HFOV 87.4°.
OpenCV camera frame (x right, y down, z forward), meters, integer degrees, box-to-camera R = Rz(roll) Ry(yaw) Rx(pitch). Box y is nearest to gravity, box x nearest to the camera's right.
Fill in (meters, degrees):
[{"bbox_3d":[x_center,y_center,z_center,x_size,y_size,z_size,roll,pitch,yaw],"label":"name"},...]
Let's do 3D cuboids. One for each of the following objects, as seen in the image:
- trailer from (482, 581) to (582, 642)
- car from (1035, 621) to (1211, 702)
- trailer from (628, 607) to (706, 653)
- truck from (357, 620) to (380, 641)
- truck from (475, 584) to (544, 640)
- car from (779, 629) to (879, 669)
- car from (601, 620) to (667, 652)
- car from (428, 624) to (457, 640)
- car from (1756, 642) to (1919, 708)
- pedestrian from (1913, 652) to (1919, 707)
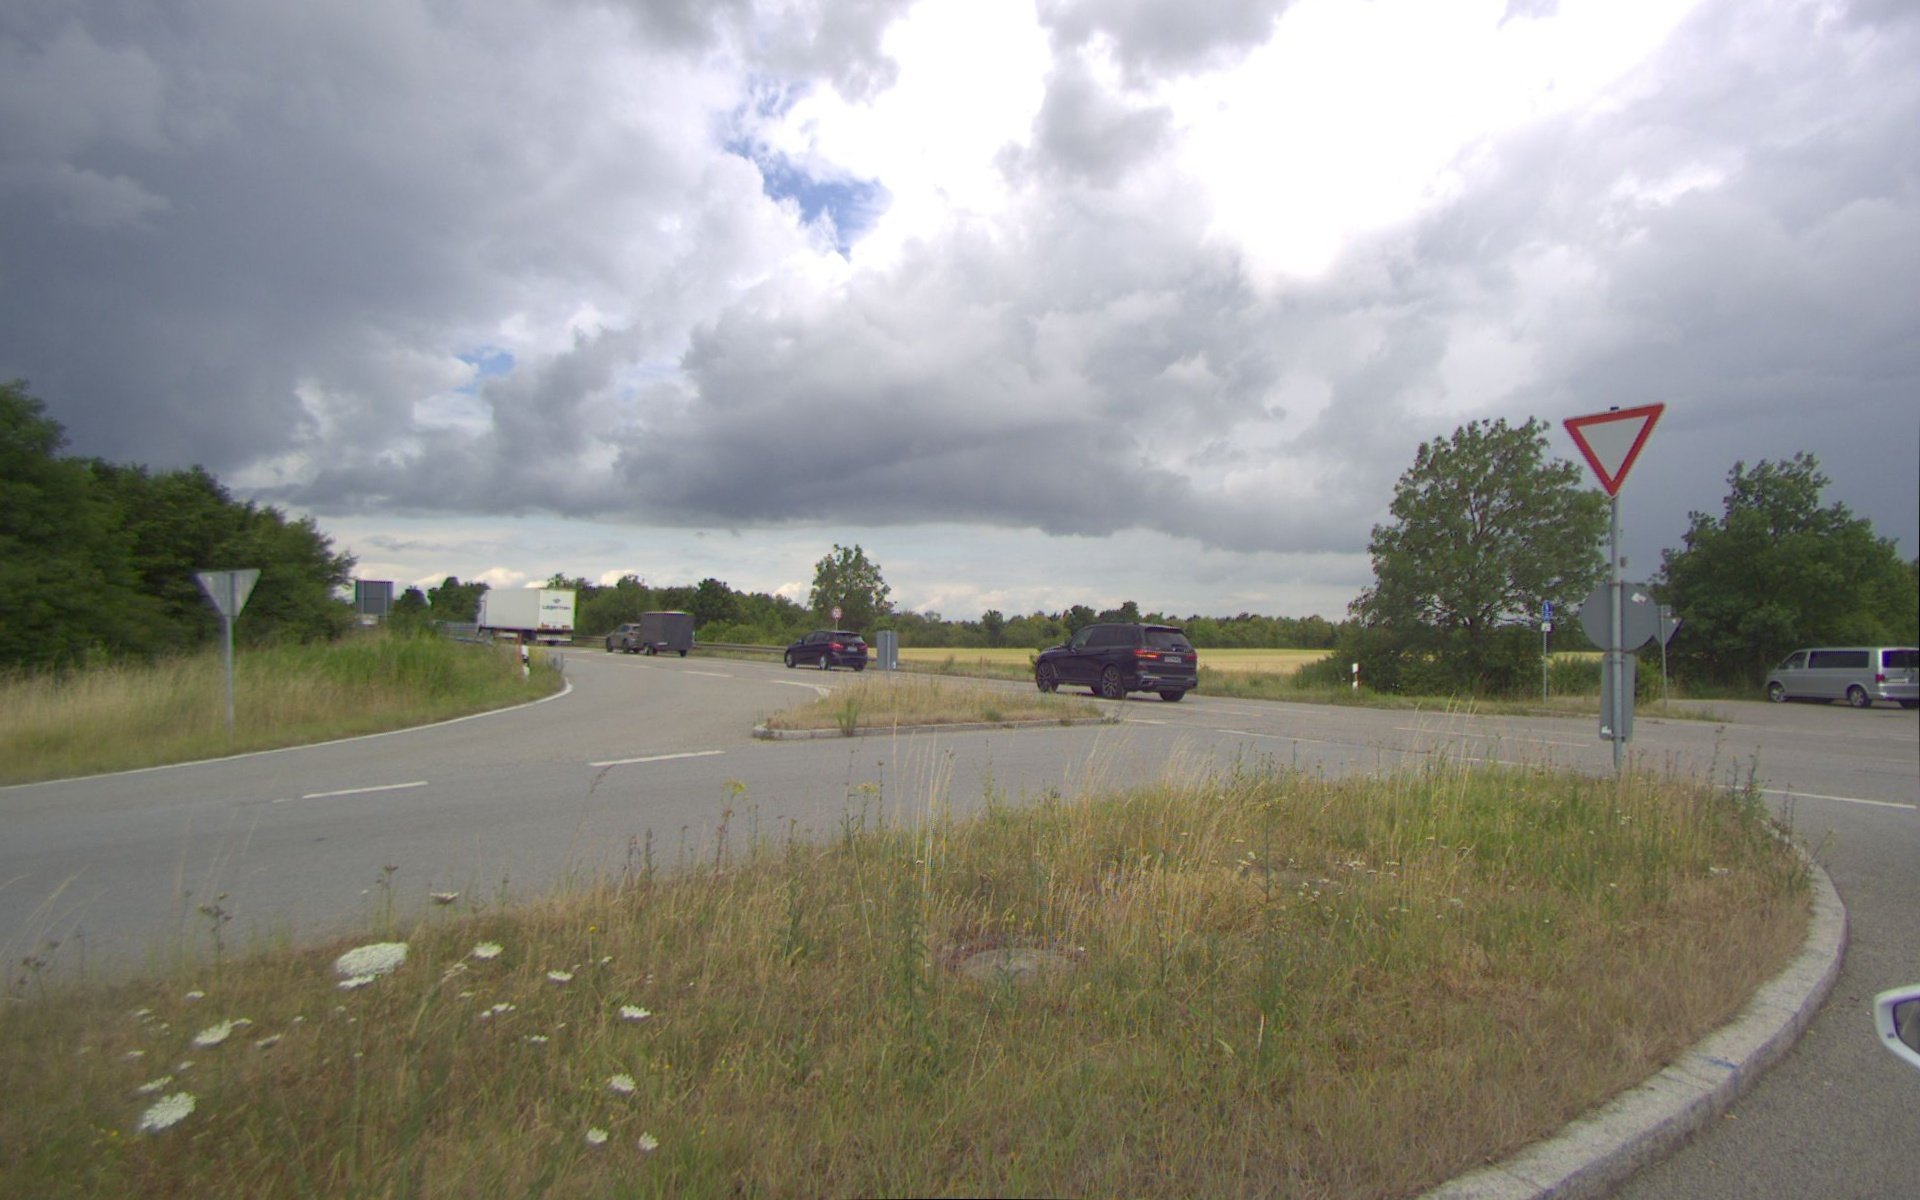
[{"bbox_3d":[-31.917,0.937,74.391,3.103,4.066,13.732,4,-3,-39],"label":"trailer"},{"bbox_3d":[3.854,1.440,24.687,1.974,1.798,4.614,2,-2,-26],"label":"car"},{"bbox_3d":[-15.720,1.628,53.777,2.398,2.322,4.345,4,-4,-40],"label":"trailer"},{"bbox_3d":[-79.551,4.114,135.040,2.047,2.738,5.982,2,-2,-36],"label":"truck"},{"bbox_3d":[-35.388,0.998,78.770,3.103,4.066,7.226,4,-3,-39],"label":"truck"},{"bbox_3d":[-5.240,1.928,39.849,1.983,1.506,4.253,3,-3,-39],"label":"car"},{"bbox_3d":[-18.578,2.036,57.149,1.985,1.704,4.425,4,-4,-41],"label":"car"},{"bbox_3d":[-52.216,3.248,101.342,1.981,1.622,4.181,1,-3,-37],"label":"car"},{"bbox_3d":[30.259,2.478,34.279,2.296,2.040,4.916,0,-2,1],"label":"car"},{"bbox_3d":[30.984,2.529,32.038,0.629,1.748,0.530,0,-1,-1],"label":"pedestrian"}]
